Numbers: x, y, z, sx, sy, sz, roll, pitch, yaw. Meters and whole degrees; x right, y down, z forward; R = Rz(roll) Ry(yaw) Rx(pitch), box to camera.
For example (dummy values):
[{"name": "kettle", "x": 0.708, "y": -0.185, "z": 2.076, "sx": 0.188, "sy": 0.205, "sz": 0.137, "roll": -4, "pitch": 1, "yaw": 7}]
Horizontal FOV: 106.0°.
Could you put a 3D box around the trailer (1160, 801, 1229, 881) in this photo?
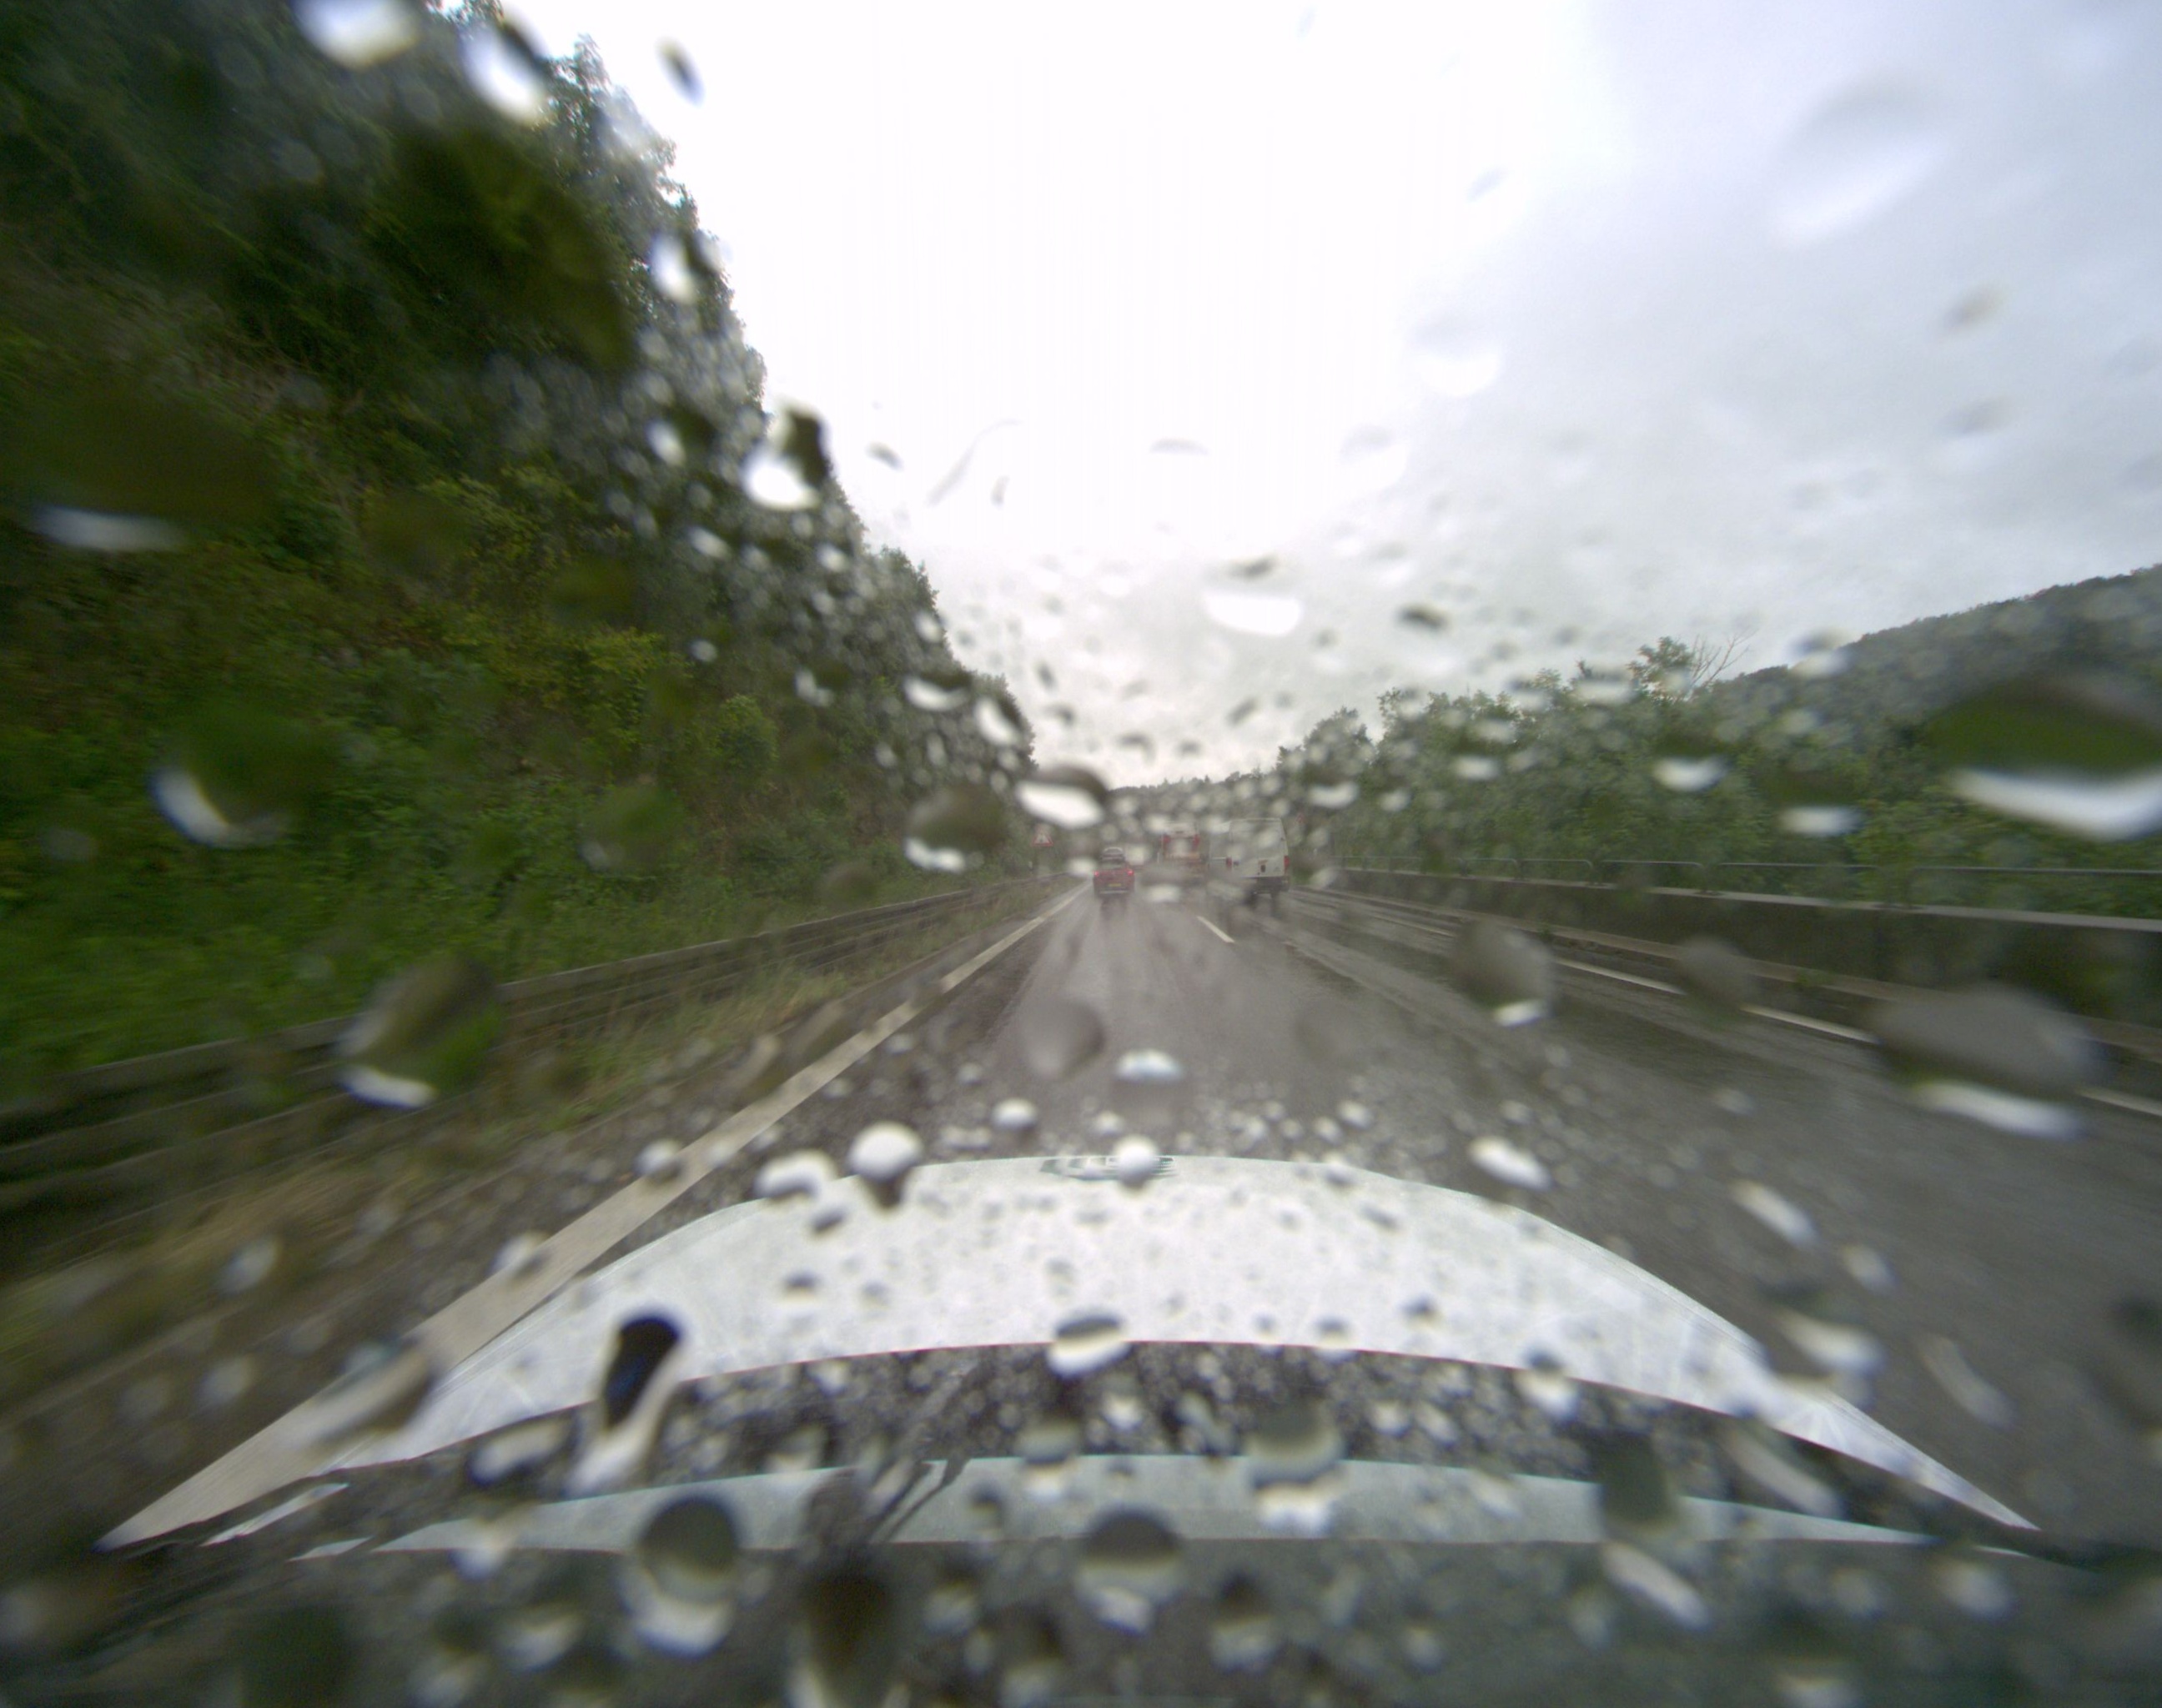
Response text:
[{"name": "trailer", "x": 6.454, "y": -0.680, "z": 48.279, "sx": 3.203, "sy": 3.999, "sz": 13.541, "roll": -1, "pitch": 0, "yaw": 5}]

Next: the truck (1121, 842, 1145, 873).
[{"name": "truck", "x": 7.268, "y": 0.467, "z": 114.634, "sx": 2.678, "sy": 4.094, "sz": 9.314, "roll": -3, "pitch": 0, "yaw": 0}]

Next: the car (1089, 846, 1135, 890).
[{"name": "car", "x": 1.383, "y": 0.562, "z": 35.006, "sx": 1.751, "sy": 1.684, "sz": 4.003, "roll": -3, "pitch": 0, "yaw": 3}]

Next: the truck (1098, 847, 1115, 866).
[{"name": "truck", "x": 4.780, "y": 0.484, "z": 151.524, "sx": 3.050, "sy": 3.312, "sz": 8.073, "roll": -1, "pitch": 0, "yaw": 1}]

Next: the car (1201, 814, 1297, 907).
[{"name": "car", "x": 5.591, "y": 0.211, "z": 28.183, "sx": 2.197, "sy": 2.794, "sz": 7.388, "roll": 0, "pitch": 0, "yaw": 3}]

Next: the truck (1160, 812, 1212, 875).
[{"name": "truck", "x": 7.000, "y": -0.655, "z": 55.025, "sx": 3.205, "sy": 3.978, "sz": 5.446, "roll": -1, "pitch": 0, "yaw": 5}]
